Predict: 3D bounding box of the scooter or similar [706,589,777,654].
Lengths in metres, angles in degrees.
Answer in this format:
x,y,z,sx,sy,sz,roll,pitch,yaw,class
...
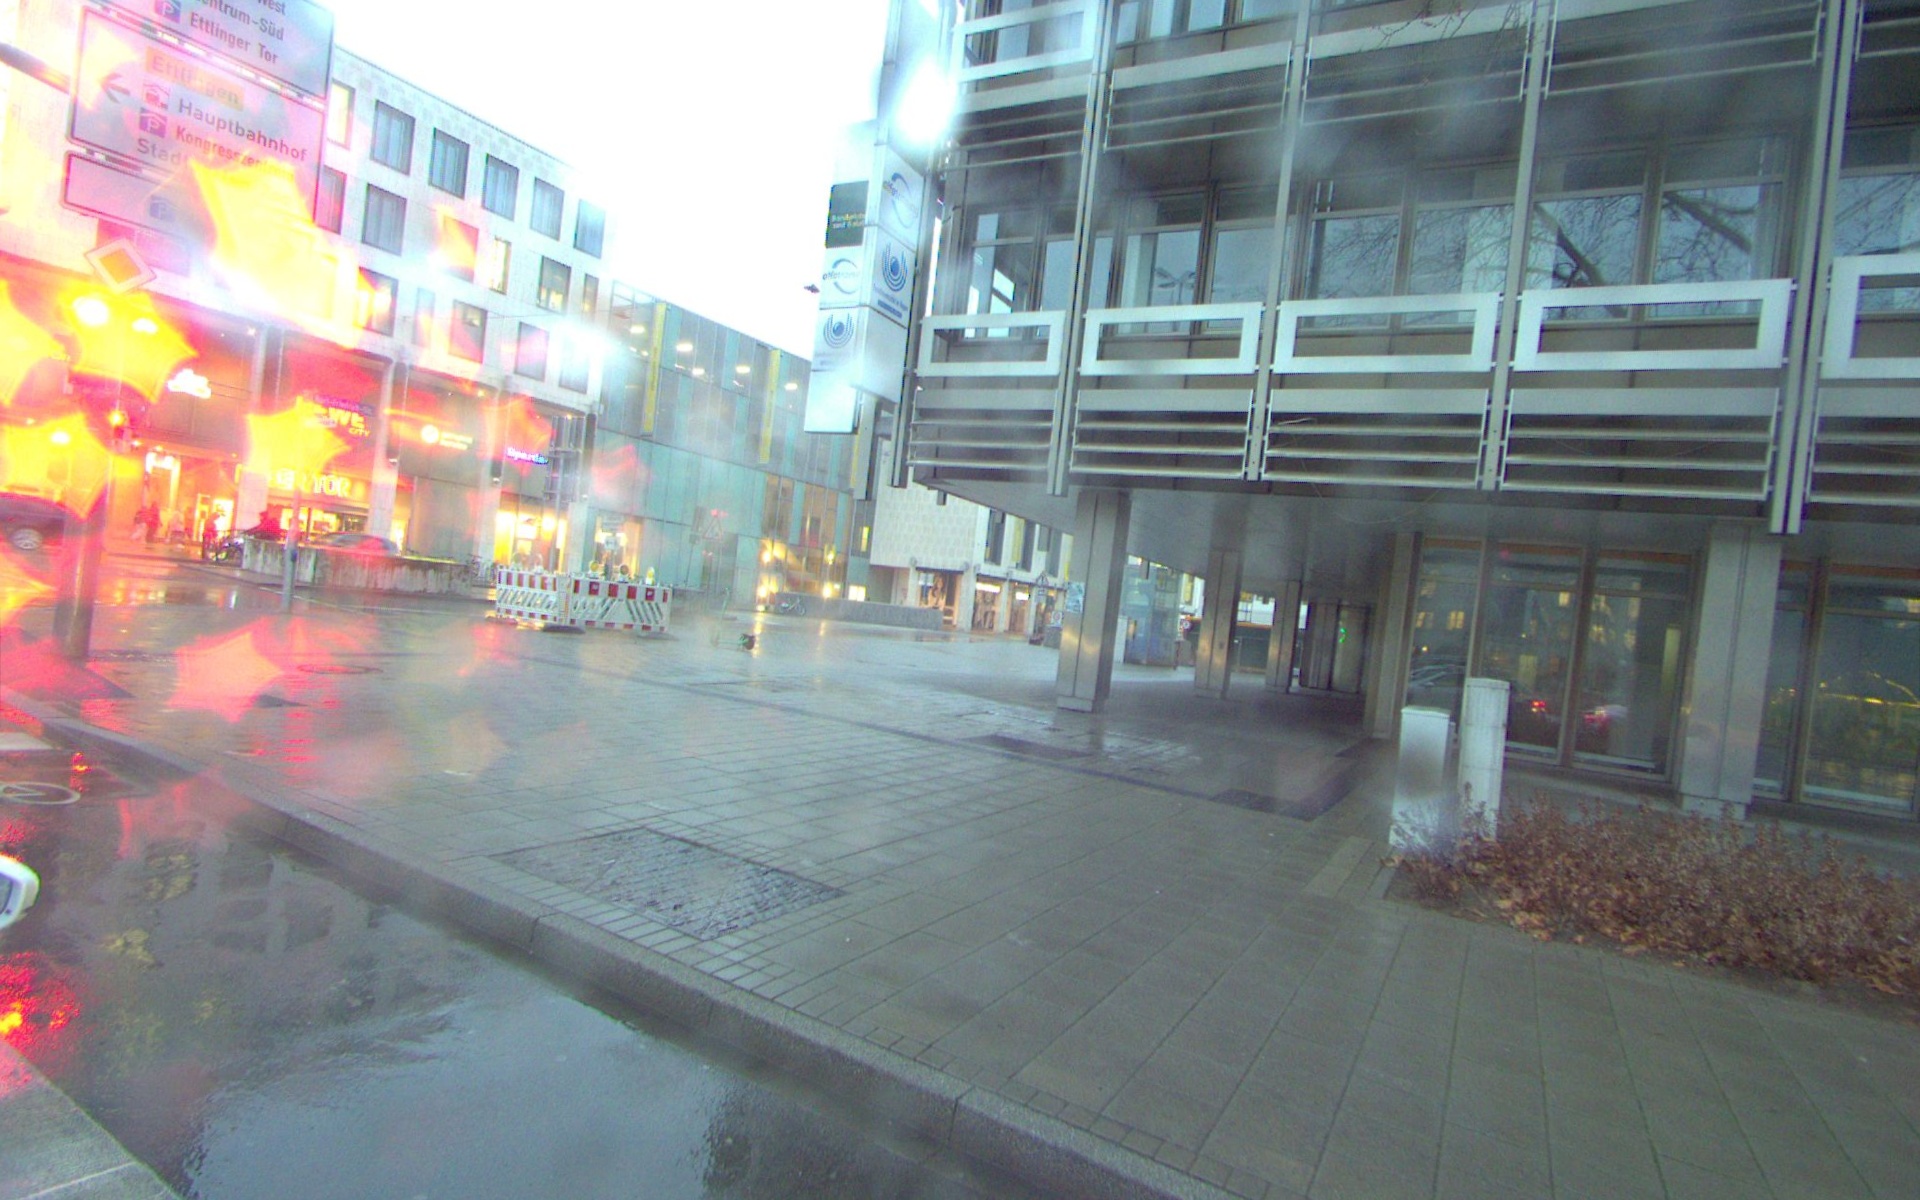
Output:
x,y,z,sx,sy,sz,roll,pitch,yaw,class
-4.393,0.432,20.246,1.215,1.144,0.606,7,0,32,scooter or similar

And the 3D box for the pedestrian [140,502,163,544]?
x,y,z,sx,sy,sz,roll,pitch,yaw,class
-35.380,-3.365,44.039,0.529,1.739,0.500,6,1,-21,pedestrian

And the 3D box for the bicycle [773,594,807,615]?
x,y,z,sx,sy,sz,roll,pitch,yaw,class
-10.420,0.272,61.650,2.101,1.046,0.616,6,0,33,bicycle

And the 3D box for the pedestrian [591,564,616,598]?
x,y,z,sx,sy,sz,roll,pitch,yaw,class
-18.333,-0.970,51.765,0.697,1.650,0.795,6,-1,31,pedestrian

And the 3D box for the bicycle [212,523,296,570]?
x,y,z,sx,sy,sz,roll,pitch,yaw,class
-20.297,-1.527,28.937,1.839,1.107,0.610,7,0,-44,bicycle

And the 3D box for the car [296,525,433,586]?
x,y,z,sx,sy,sz,roll,pitch,yaw,class
-20.095,-1.461,34.093,1.648,1.601,3.575,6,-1,29,car

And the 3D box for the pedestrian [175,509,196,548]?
x,y,z,sx,sy,sz,roll,pitch,yaw,class
-36.362,-3.365,47.227,0.529,1.739,0.500,6,1,-21,pedestrian

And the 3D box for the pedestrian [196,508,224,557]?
x,y,z,sx,sy,sz,roll,pitch,yaw,class
-27.047,-2.427,36.274,0.529,1.706,0.546,6,1,-21,pedestrian

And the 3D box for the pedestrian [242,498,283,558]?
x,y,z,sx,sy,sz,roll,pitch,yaw,class
-20.146,-2.086,29.070,0.778,1.615,0.605,6,1,-43,pedestrian

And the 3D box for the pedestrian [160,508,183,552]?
x,y,z,sx,sy,sz,roll,pitch,yaw,class
-33.096,-2.948,42.230,0.368,1.782,0.512,7,1,31,pedestrian

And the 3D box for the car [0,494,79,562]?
x,y,z,sx,sy,sz,roll,pitch,yaw,class
-26.381,-2.116,26.542,1.773,1.593,4.526,7,-1,44,car
